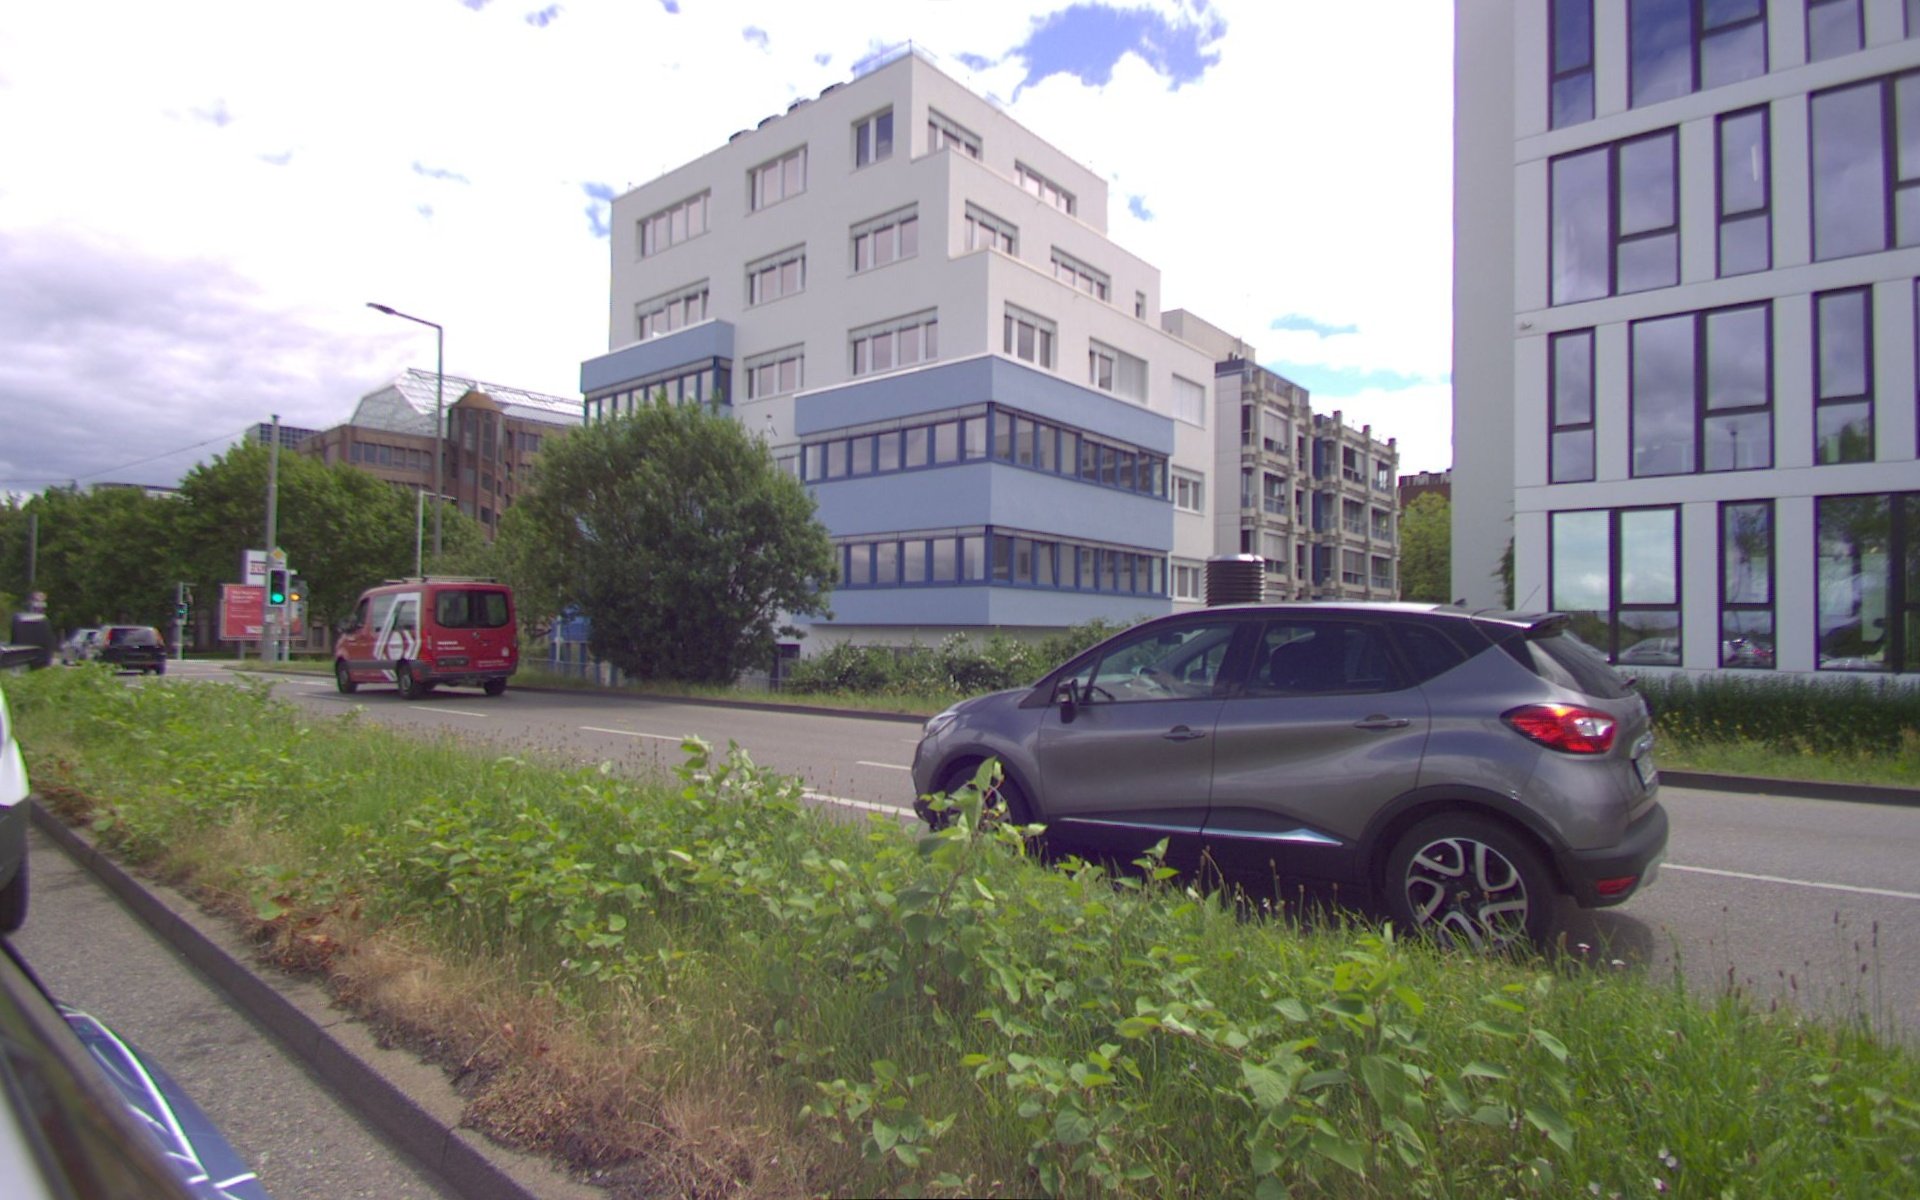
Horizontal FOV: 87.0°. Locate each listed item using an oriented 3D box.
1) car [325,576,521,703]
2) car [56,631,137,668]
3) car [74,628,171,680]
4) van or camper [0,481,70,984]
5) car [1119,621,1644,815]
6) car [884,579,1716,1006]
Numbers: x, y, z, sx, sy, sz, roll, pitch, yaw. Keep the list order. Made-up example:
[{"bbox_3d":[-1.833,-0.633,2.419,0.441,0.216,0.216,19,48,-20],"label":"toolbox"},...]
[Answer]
[{"bbox_3d":[-11.671,0.819,21.825,5.238,2.430,1.973,-1,-2,41],"label":"car"},{"bbox_3d":[-35.124,1.977,41.140,3.997,1.409,1.913,-2,-2,41],"label":"car"},{"bbox_3d":[-25.829,1.614,31.163,3.998,1.494,1.661,-2,-2,41],"label":"car"},{"bbox_3d":[-6.636,0.562,5.250,5.791,2.029,1.974,-1,-3,38],"label":"van or camper"},{"bbox_3d":[3.680,0.893,9.206,3.998,1.364,1.973,-2,-2,41],"label":"car"},{"bbox_3d":[1.689,0.752,5.654,3.995,1.528,1.916,-2,-2,39],"label":"car"}]
